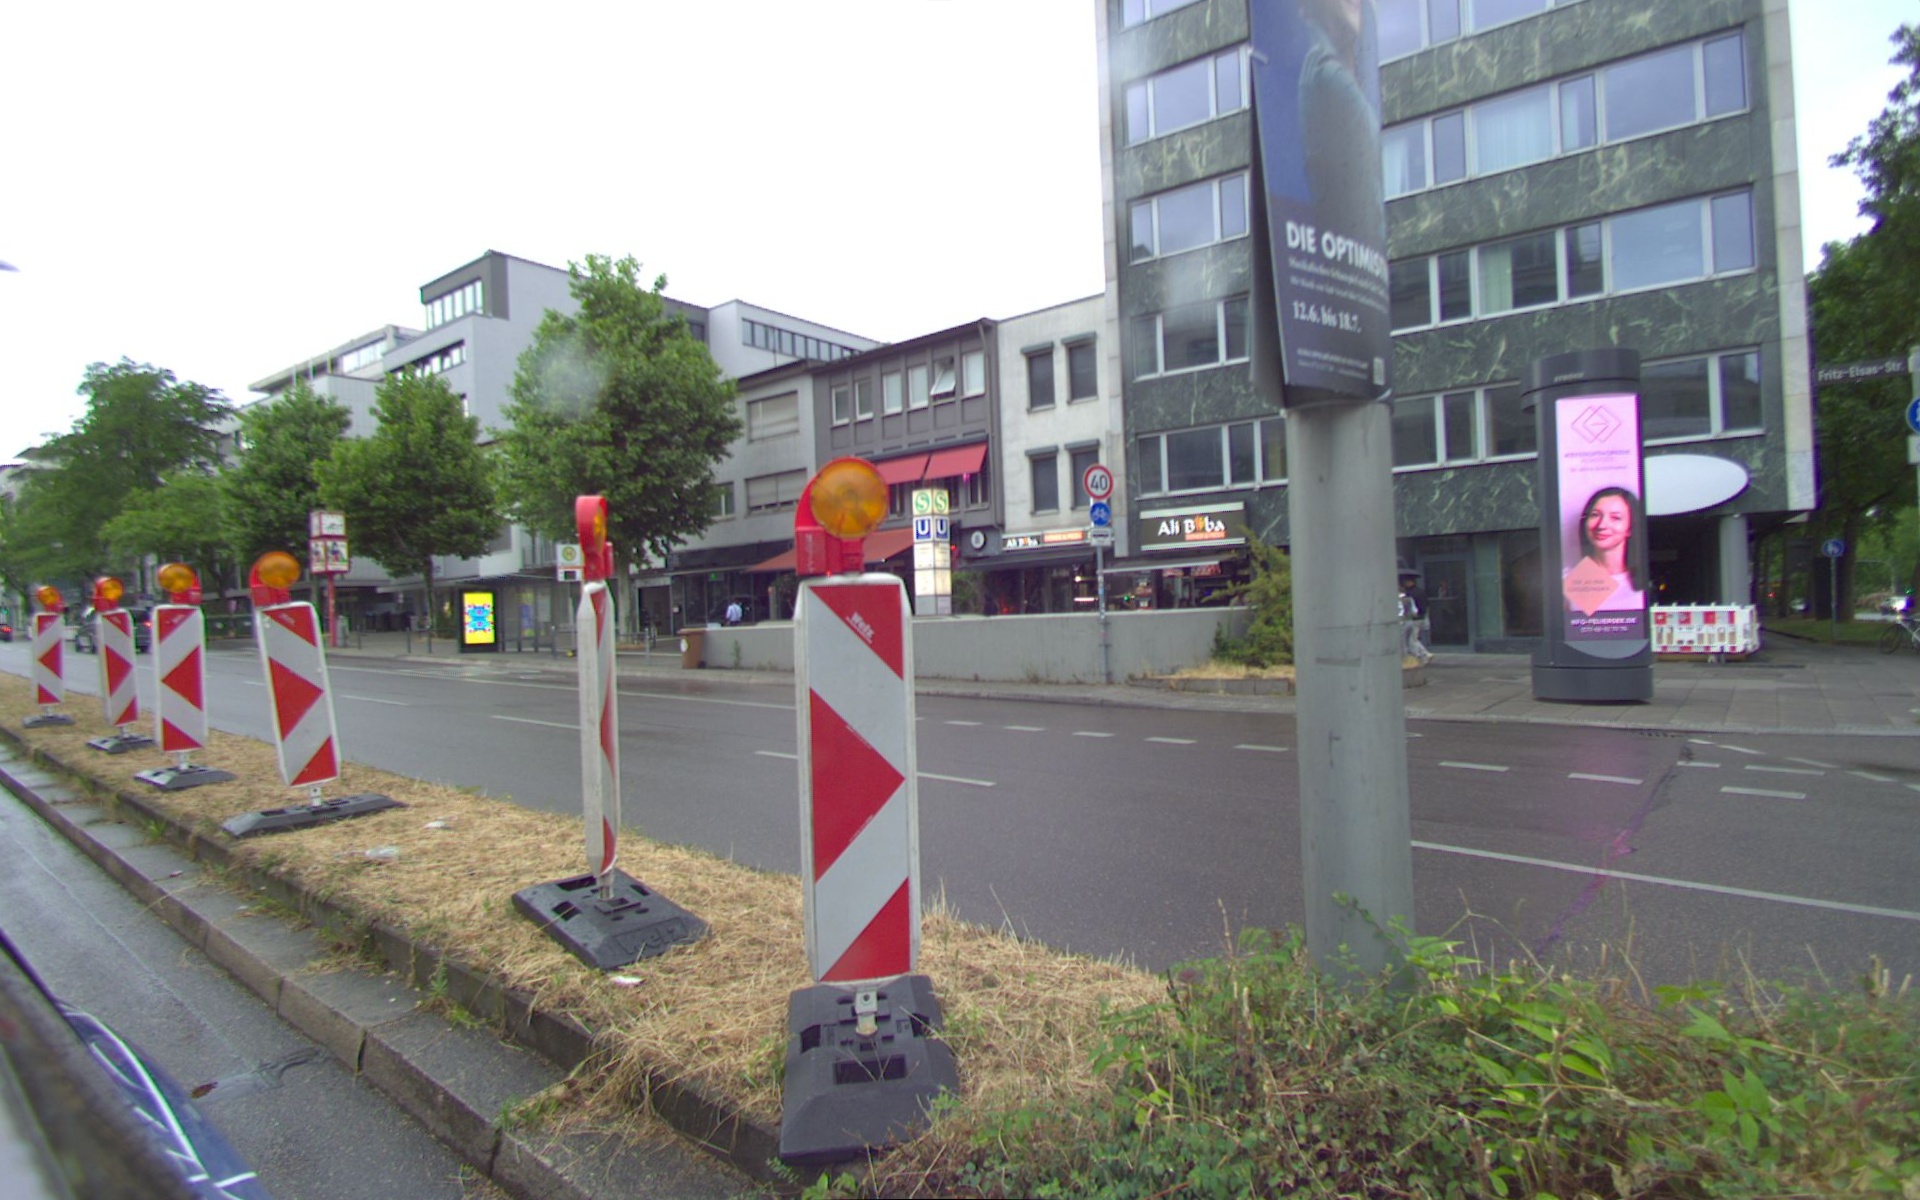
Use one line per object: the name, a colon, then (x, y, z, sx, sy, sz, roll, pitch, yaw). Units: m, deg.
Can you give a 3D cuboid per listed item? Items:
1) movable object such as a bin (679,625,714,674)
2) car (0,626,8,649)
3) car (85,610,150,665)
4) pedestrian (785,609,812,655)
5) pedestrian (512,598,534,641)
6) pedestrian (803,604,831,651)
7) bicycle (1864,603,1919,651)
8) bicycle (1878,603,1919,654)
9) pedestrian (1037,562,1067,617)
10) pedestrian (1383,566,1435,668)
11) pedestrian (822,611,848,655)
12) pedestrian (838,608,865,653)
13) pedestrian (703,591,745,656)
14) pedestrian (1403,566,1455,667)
movable object such as a bin: (-6.107, 1.131, 23.463, 0.660, 1.109, 0.501, -1, 0, 39)
car: (-67.723, 2.607, 70.197, 4.282, 1.522, 1.672, -2, -1, 36)
car: (-35.190, 1.497, 42.227, 1.969, 1.941, 4.972, -1, 2, -41)
pedestrian: (-5.476, 1.067, 34.325, 0.611, 1.540, 0.660, -2, -1, 44)
pedestrian: (-20.986, 0.922, 48.585, 0.764, 2.029, 0.768, -1, 0, -41)
pedestrian: (-4.771, 0.899, 33.779, 0.611, 1.540, 0.660, -2, -1, 44)
bicycle: (21.257, 0.596, 22.399, 1.780, 1.060, 0.579, -1, -1, 37)
bicycle: (20.761, 0.601, 21.491, 1.780, 1.060, 0.579, -1, -1, 37)
pedestrian: (3.098, -0.351, 33.949, 0.791, 1.837, 0.603, -1, 0, 36)
pedestrian: (9.100, 0.344, 20.523, 0.588, 2.029, 0.730, 0, -1, -29)
pedestrian: (-4.391, 1.150, 35.447, 0.611, 1.540, 0.660, -2, -1, 44)
pedestrian: (-3.760, 1.044, 35.028, 0.611, 1.540, 0.660, -2, -1, 44)
pedestrian: (-7.479, 0.726, 32.086, 0.943, 2.029, 0.910, -1, 0, 41)
pedestrian: (9.646, 0.340, 20.824, 0.588, 2.029, 0.730, 0, -1, -29)
